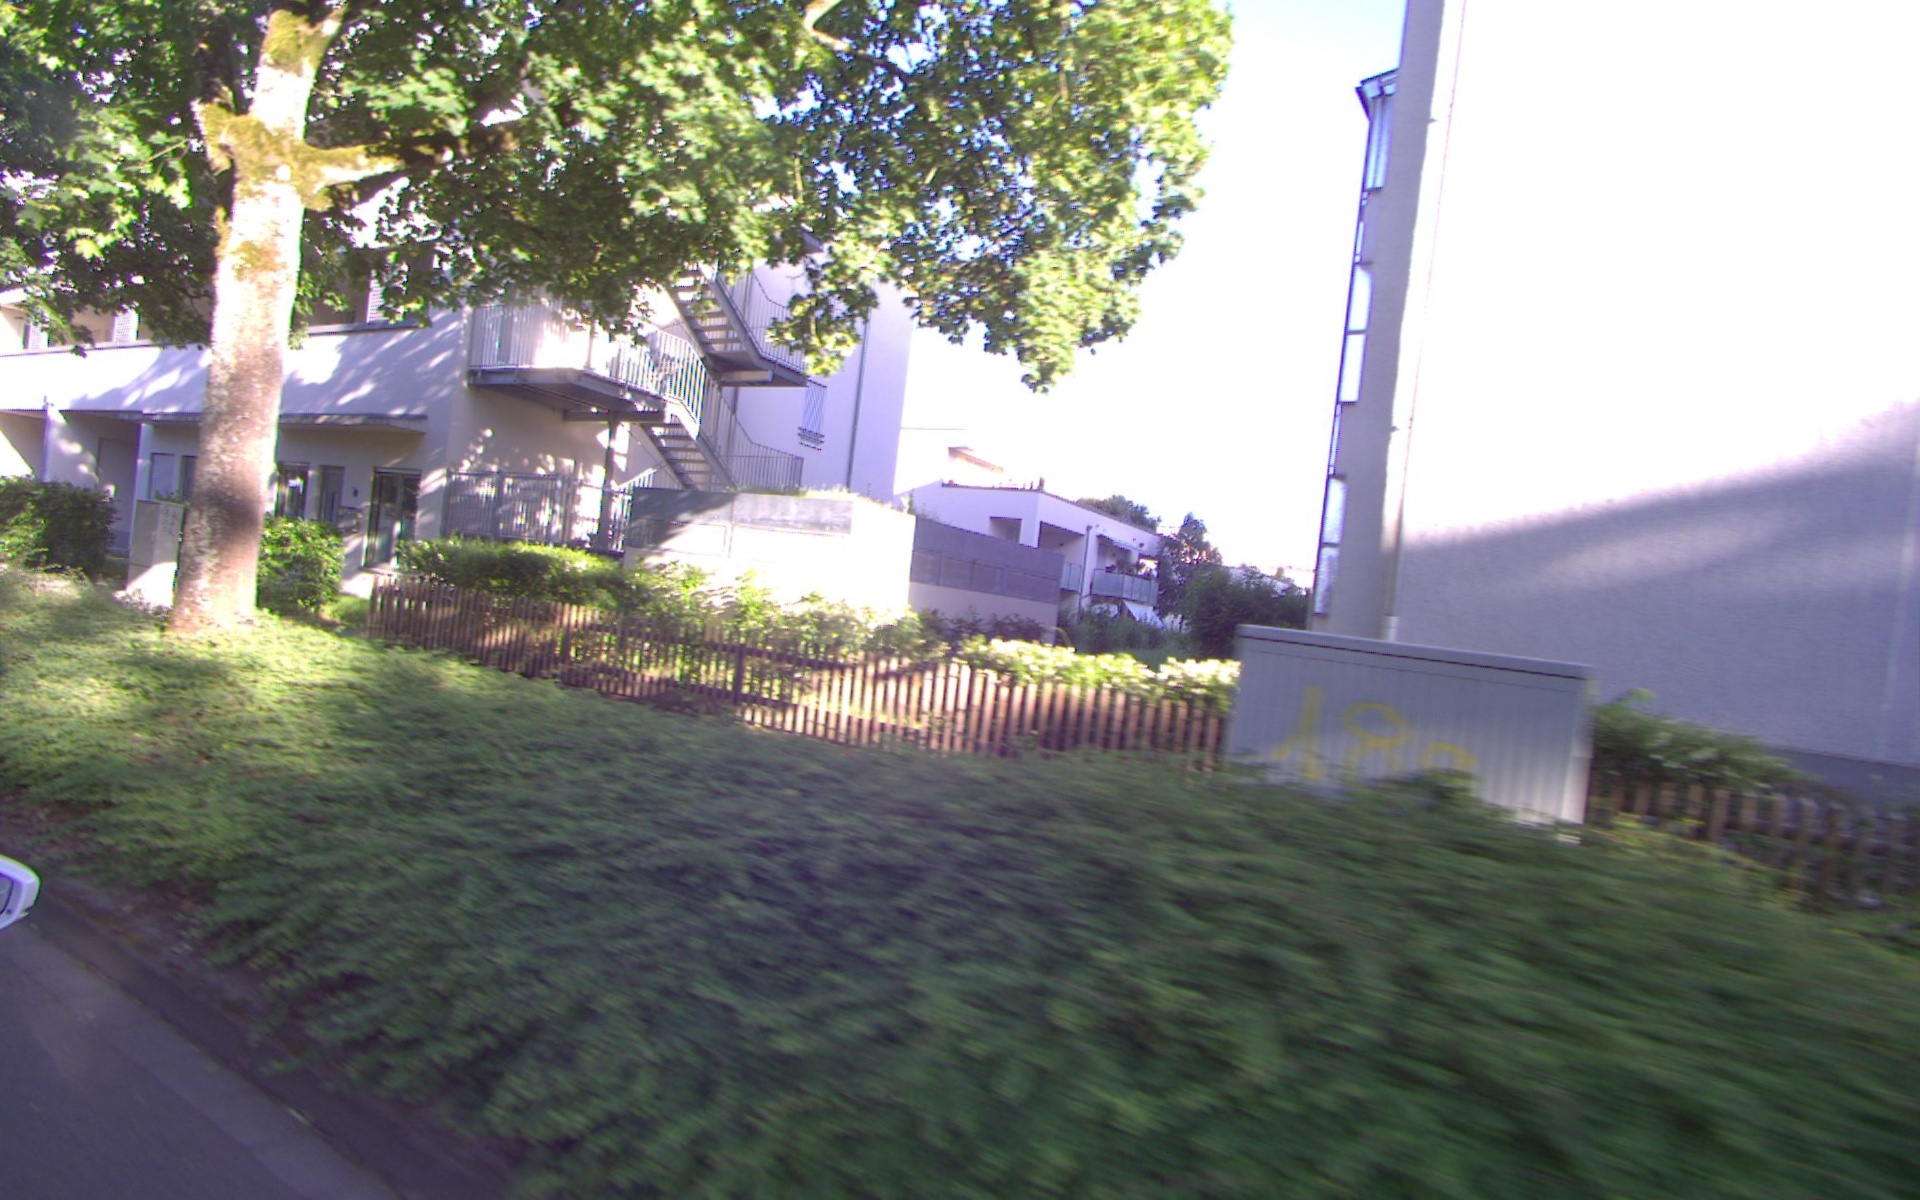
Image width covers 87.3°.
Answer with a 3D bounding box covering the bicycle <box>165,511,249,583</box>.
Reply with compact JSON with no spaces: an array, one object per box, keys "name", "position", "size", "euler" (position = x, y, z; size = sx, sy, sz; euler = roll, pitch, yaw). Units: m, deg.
[{"name":"bicycle","position":[-14.796,-1.051,19.754],"size":[1.724,1.205,0.619],"euler":[7,-1,31]}]
